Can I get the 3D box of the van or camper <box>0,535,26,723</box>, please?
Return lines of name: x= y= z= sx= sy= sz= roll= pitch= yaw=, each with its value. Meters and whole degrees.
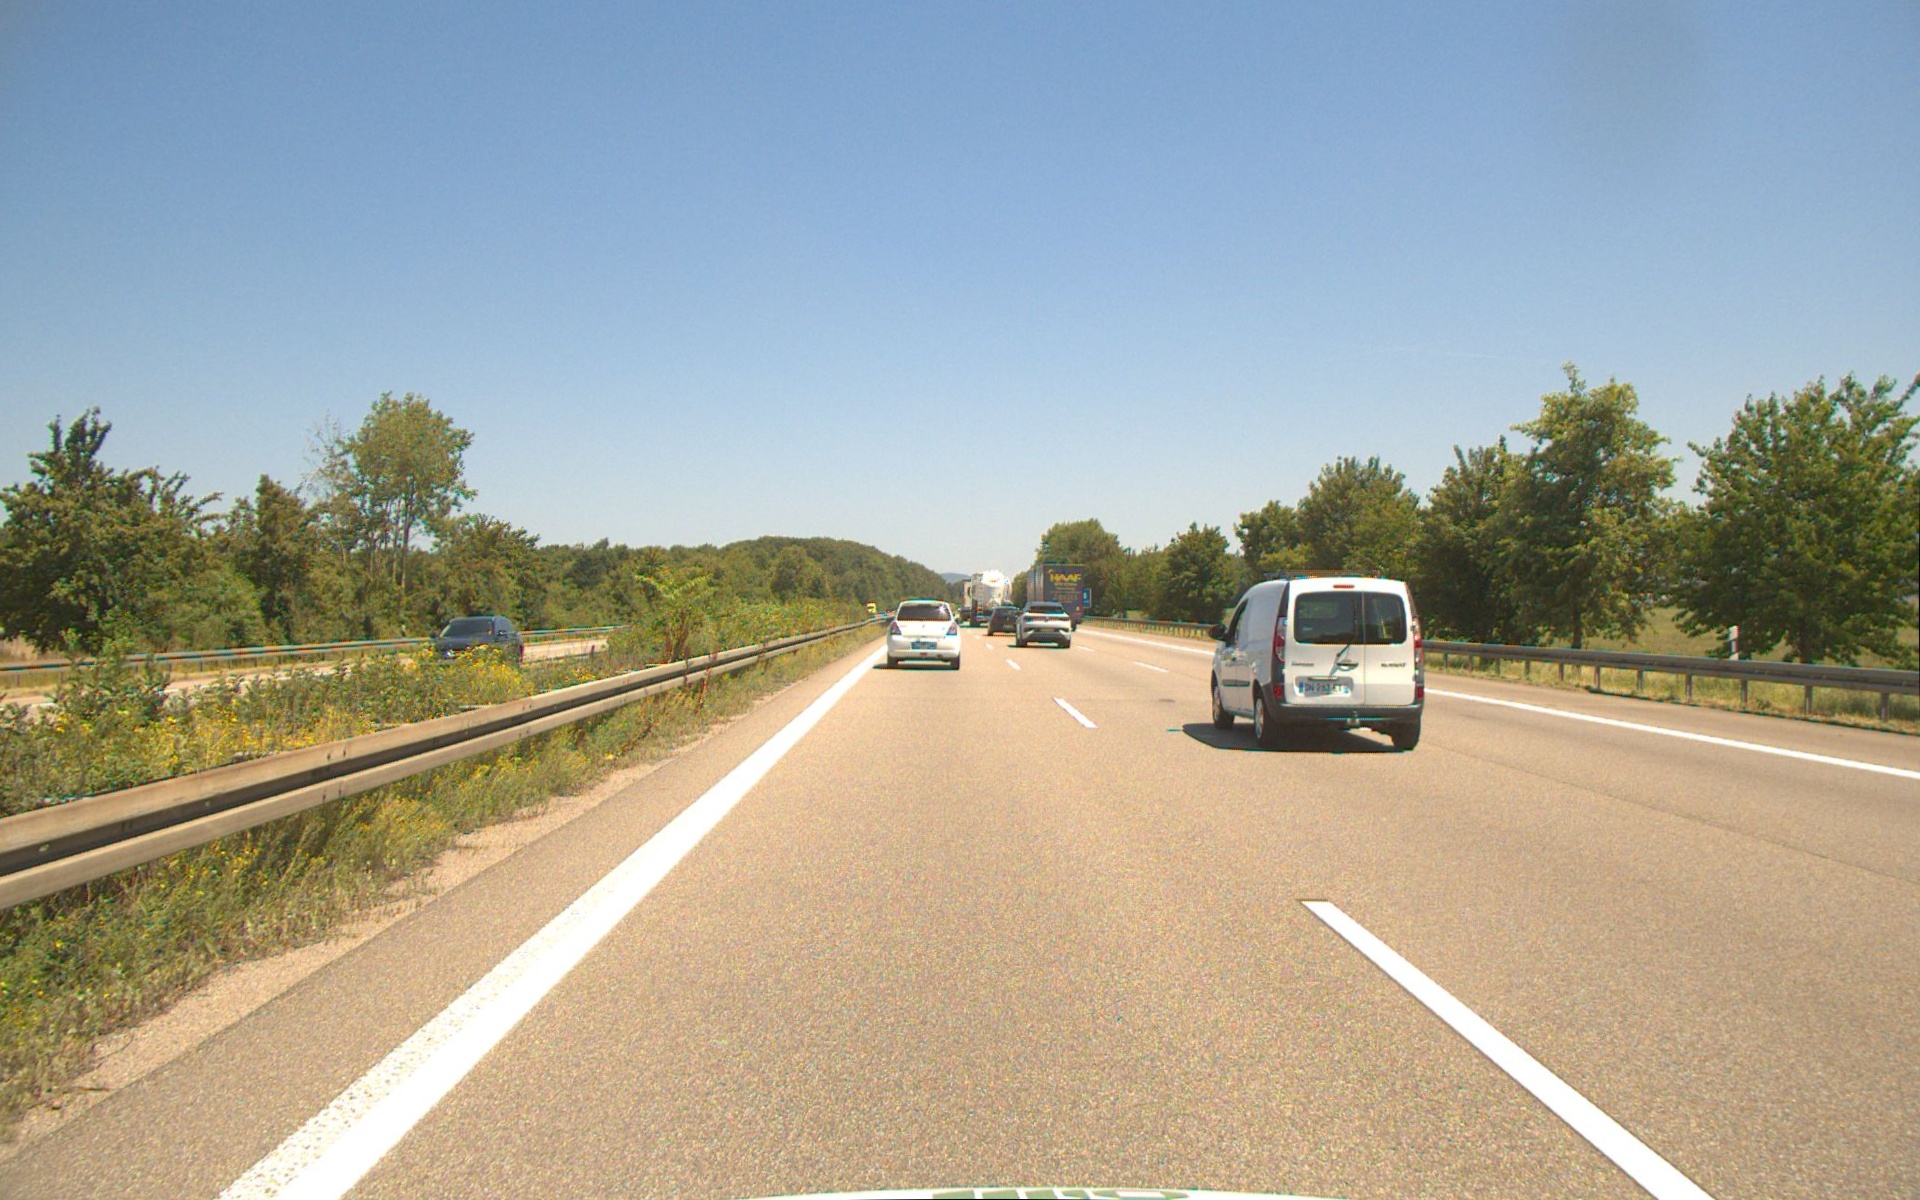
van or camper: x=-16.785 y=0.518 z=23.498 sx=2.792 sy=3.021 sz=7.445 roll=-2 pitch=0 yaw=-1

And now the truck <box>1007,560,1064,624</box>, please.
truck: x=5.171 y=-0.549 z=114.763 sx=3.047 sy=4.211 sz=8.049 roll=1 pitch=0 yaw=-4

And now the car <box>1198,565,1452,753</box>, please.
car: x=4.082 y=0.610 z=19.309 sx=1.815 sy=1.895 sz=4.701 roll=1 pitch=0 yaw=-1

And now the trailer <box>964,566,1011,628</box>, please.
trailer: x=1.861 y=-0.182 z=116.492 sx=2.852 sy=4.140 sz=12.415 roll=1 pitch=0 yaw=-1

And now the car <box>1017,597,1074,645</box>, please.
car: x=3.052 y=0.744 z=59.976 sx=1.765 sy=1.631 sz=4.380 roll=1 pitch=0 yaw=-1

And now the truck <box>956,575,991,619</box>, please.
truck: x=1.361 y=-0.259 z=167.324 sx=3.325 sy=4.287 sz=12.082 roll=1 pitch=0 yaw=0

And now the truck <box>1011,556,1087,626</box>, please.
truck: x=5.627 y=-0.533 z=108.248 sx=3.047 sy=4.211 sz=15.498 roll=1 pitch=0 yaw=-4

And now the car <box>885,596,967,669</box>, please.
car: x=-0.790 y=0.719 z=38.183 sx=1.763 sy=1.579 sz=3.609 roll=1 pitch=0 yaw=-1

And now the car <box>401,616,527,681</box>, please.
car: x=-12.845 y=1.213 z=43.135 sx=1.917 sy=1.493 sz=4.750 roll=-2 pitch=0 yaw=-1

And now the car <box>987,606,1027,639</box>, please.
car: x=2.287 y=1.087 z=81.528 sx=1.813 sy=1.549 sz=3.956 roll=1 pitch=0 yaw=-1
